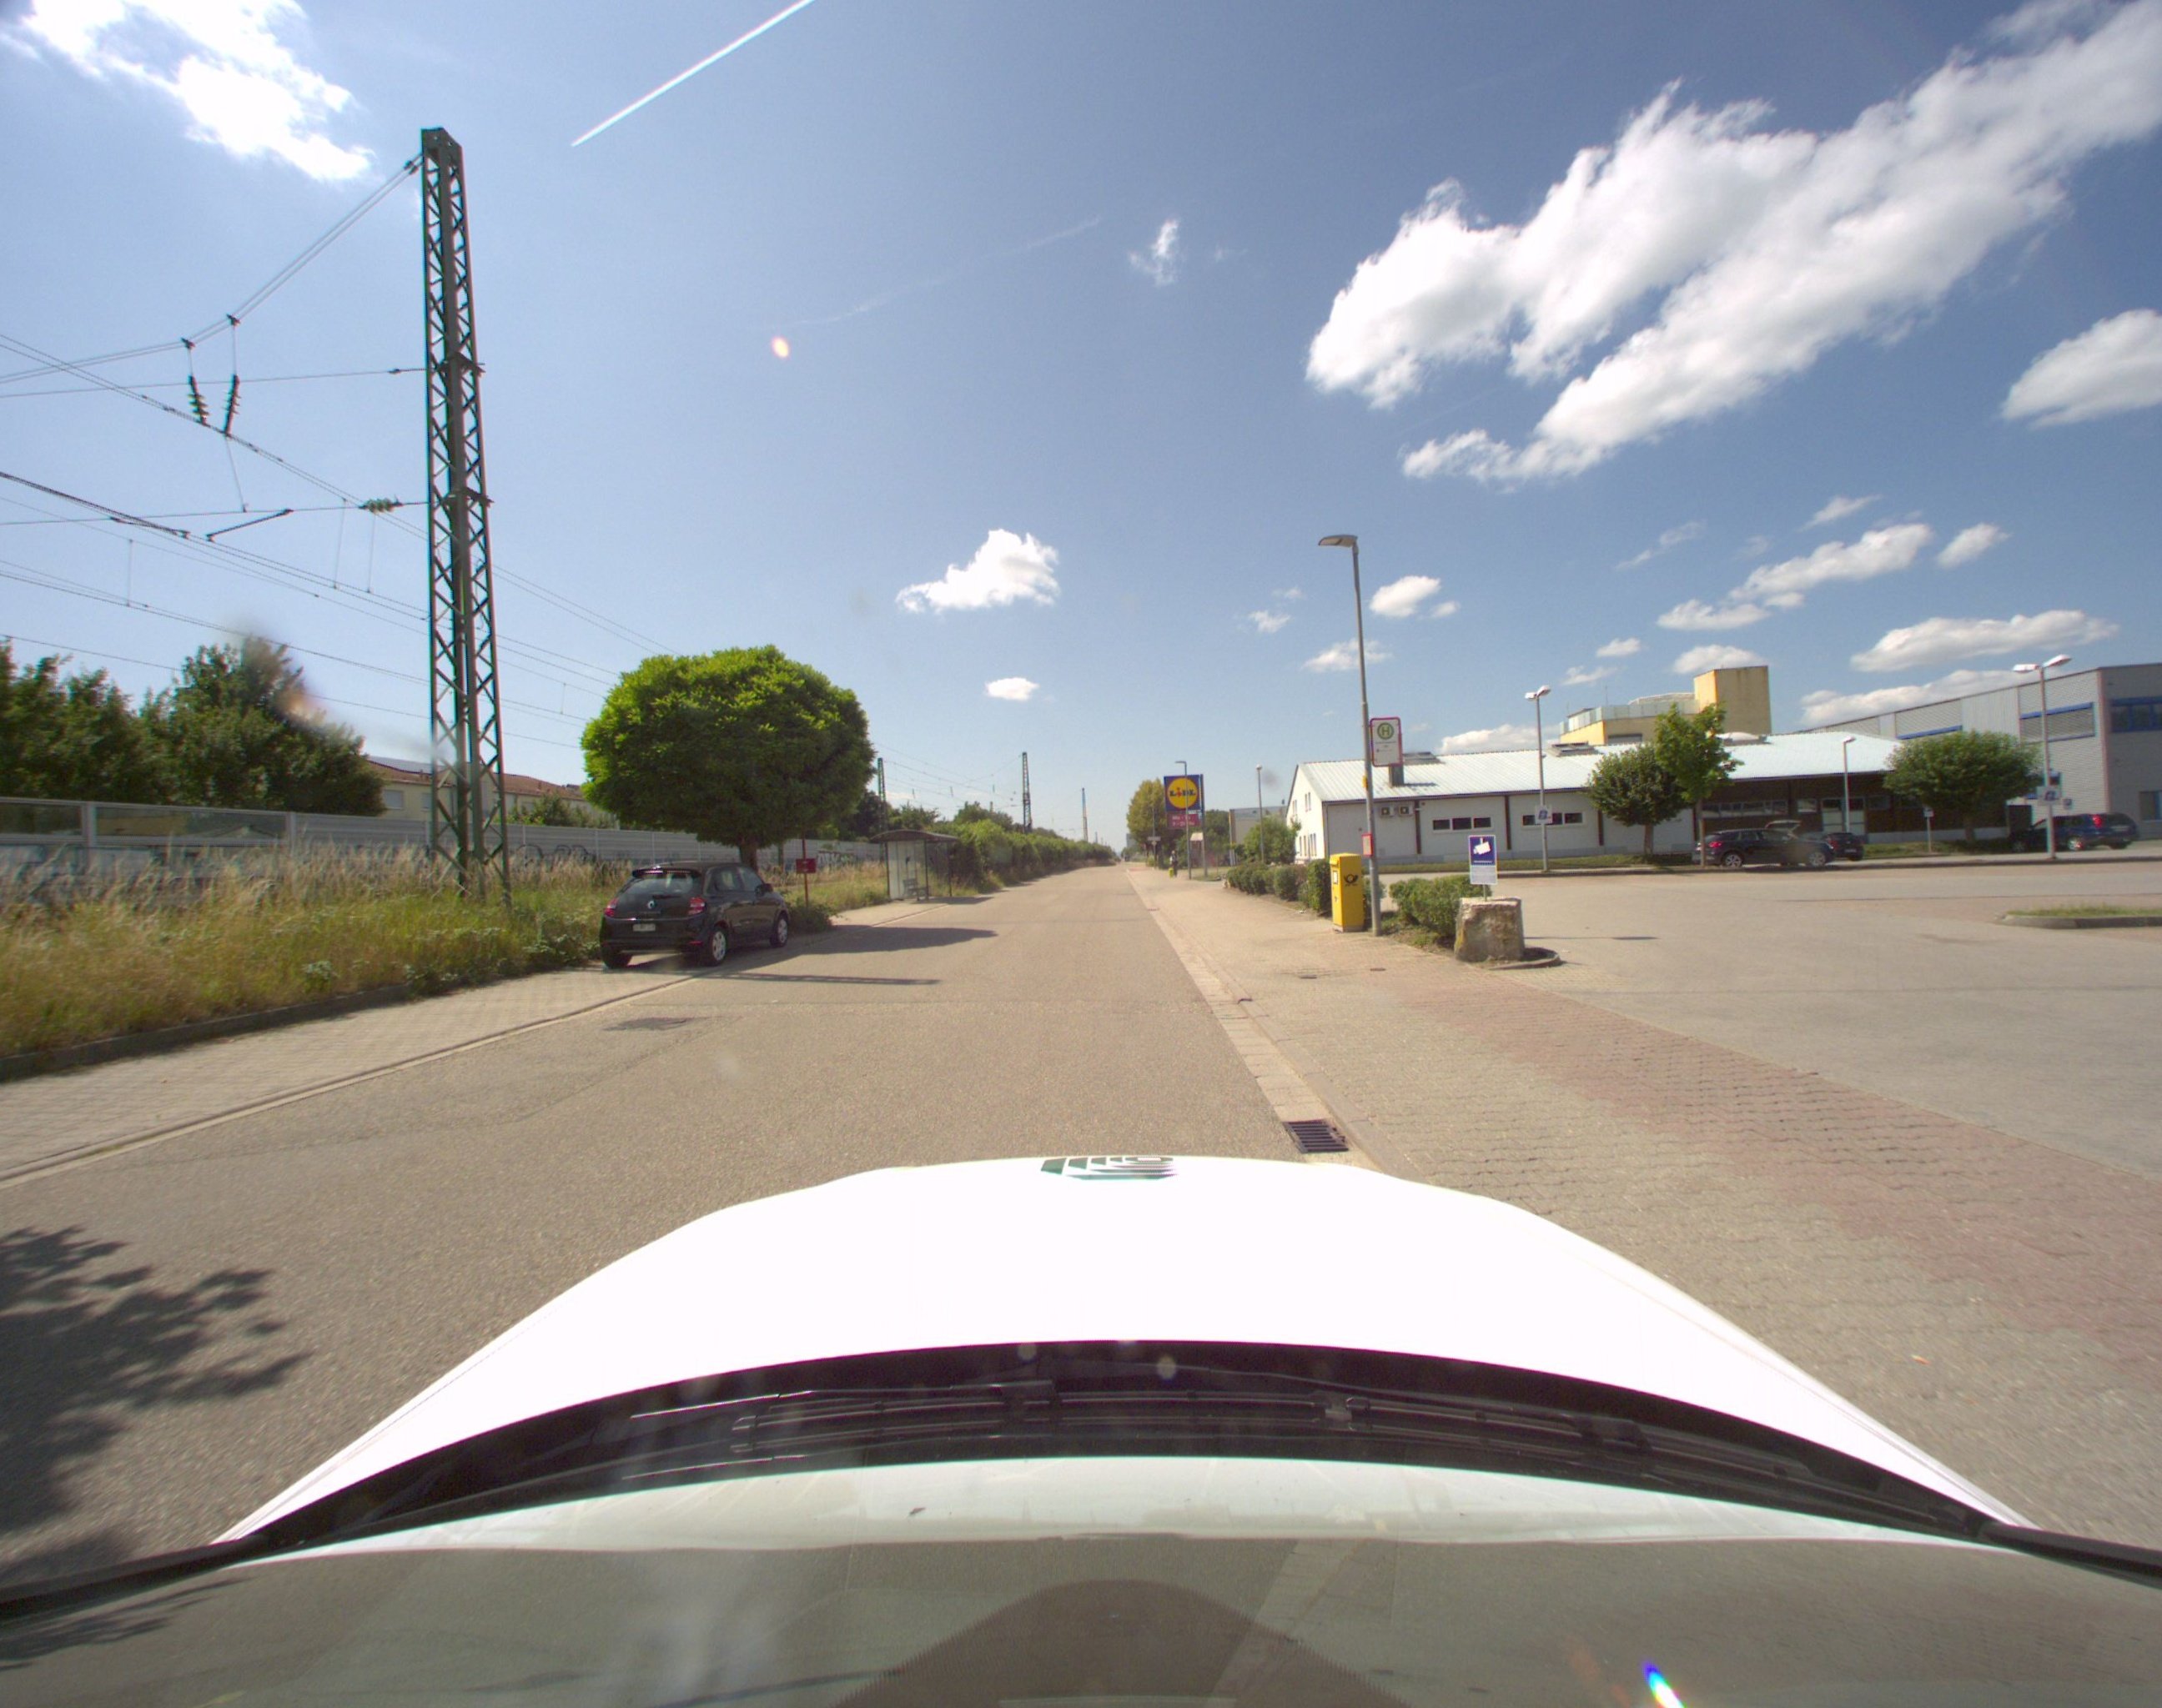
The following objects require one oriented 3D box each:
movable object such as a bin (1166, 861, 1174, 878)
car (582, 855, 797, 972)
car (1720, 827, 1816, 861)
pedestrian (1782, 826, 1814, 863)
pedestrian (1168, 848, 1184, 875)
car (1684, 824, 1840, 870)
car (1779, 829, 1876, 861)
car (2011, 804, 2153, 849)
[{"bbox_3d":[5.487,0.928,49.949,0.373,1.029,0.498,-3,0,-1],"label":"movable object such as a bin"},{"bbox_3d":[-6.157,0.844,13.307,1.736,1.596,3.579,-2,0,0],"label":"car"},{"bbox_3d":[33.160,-0.452,39.460,1.876,1.498,3.912,-2,0,11],"label":"car"},{"bbox_3d":[32.652,-0.422,37.098,0.724,1.637,0.785,-4,-3,15],"label":"pedestrian"},{"bbox_3d":[5.879,0.469,50.389,0.759,1.602,1.210,-2,0,-1],"label":"pedestrian"},{"bbox_3d":[25.213,-0.264,30.321,3.956,1.494,2.009,-2,0,16],"label":"car"},{"bbox_3d":[35.615,-0.400,38.998,1.577,1.425,3.754,-2,0,9],"label":"car"},{"bbox_3d":[46.129,-1.229,37.680,1.877,1.709,3.996,-3,-2,9],"label":"car"}]
